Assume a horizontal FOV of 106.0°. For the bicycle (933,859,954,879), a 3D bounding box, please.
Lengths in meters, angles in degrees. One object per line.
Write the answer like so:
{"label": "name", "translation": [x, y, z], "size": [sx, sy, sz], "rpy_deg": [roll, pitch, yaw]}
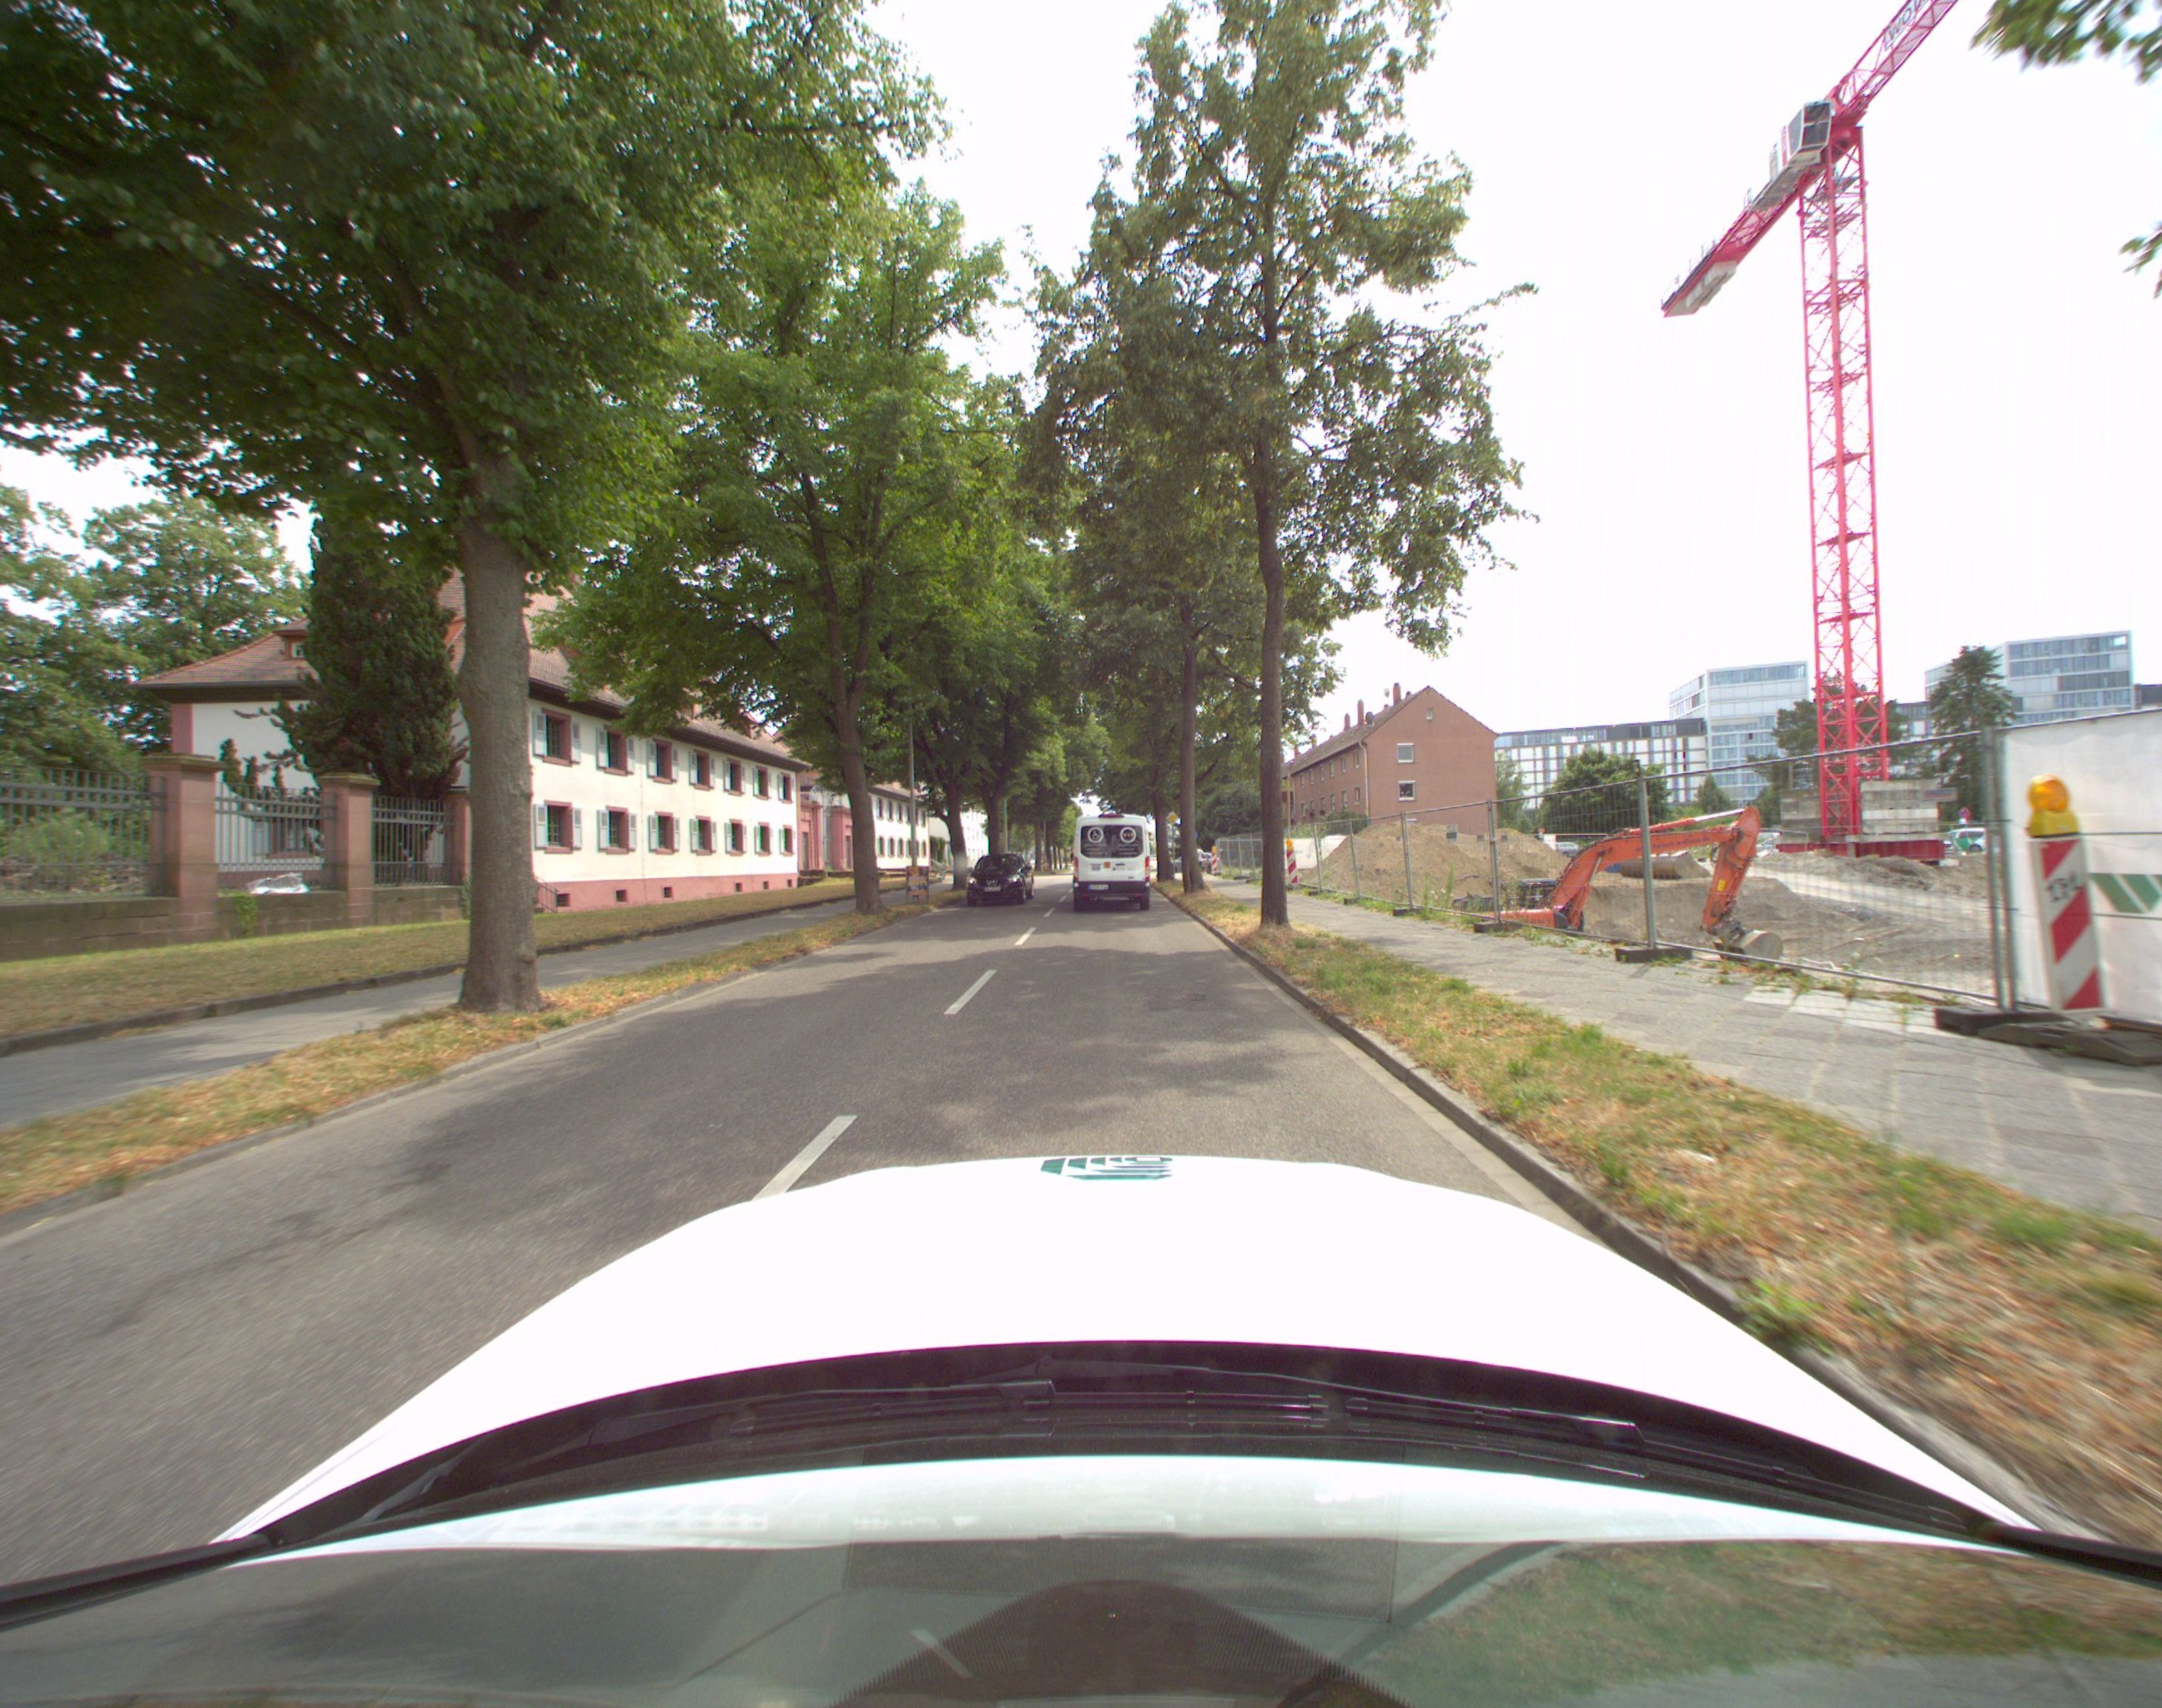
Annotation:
{"label": "bicycle", "translation": [-7.955, 0.871, 47.170], "size": [0.720, 1.095, 2.226], "rpy_deg": [2, 0, 2]}

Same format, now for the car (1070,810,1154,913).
{"label": "car", "translation": [0.749, 0.175, 22.345], "size": [2.057, 2.539, 3.998], "rpy_deg": [-1, 0, -1]}

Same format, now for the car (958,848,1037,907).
{"label": "car", "translation": [-2.599, 0.678, 26.403], "size": [1.764, 1.659, 4.261], "rpy_deg": [-3, 0, 4]}

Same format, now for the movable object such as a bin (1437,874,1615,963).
{"label": "movable object such as a bin", "translation": [15.007, 2.151, 27.878], "size": [4.647, 2.589, 3.146], "rpy_deg": [-4, -1, 16]}

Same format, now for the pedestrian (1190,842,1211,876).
{"label": "pedestrian", "translation": [6.577, 0.264, 44.904], "size": [0.875, 1.814, 0.893], "rpy_deg": [-4, -1, 20]}

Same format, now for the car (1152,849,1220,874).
{"label": "car", "translation": [6.955, 0.517, 54.347], "size": [4.353, 1.443, 2.012], "rpy_deg": [-2, -3, 3]}

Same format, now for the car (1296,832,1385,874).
{"label": "car", "translation": [18.127, -0.092, 57.057], "size": [5.449, 2.632, 2.338], "rpy_deg": [-2, 1, 3]}
